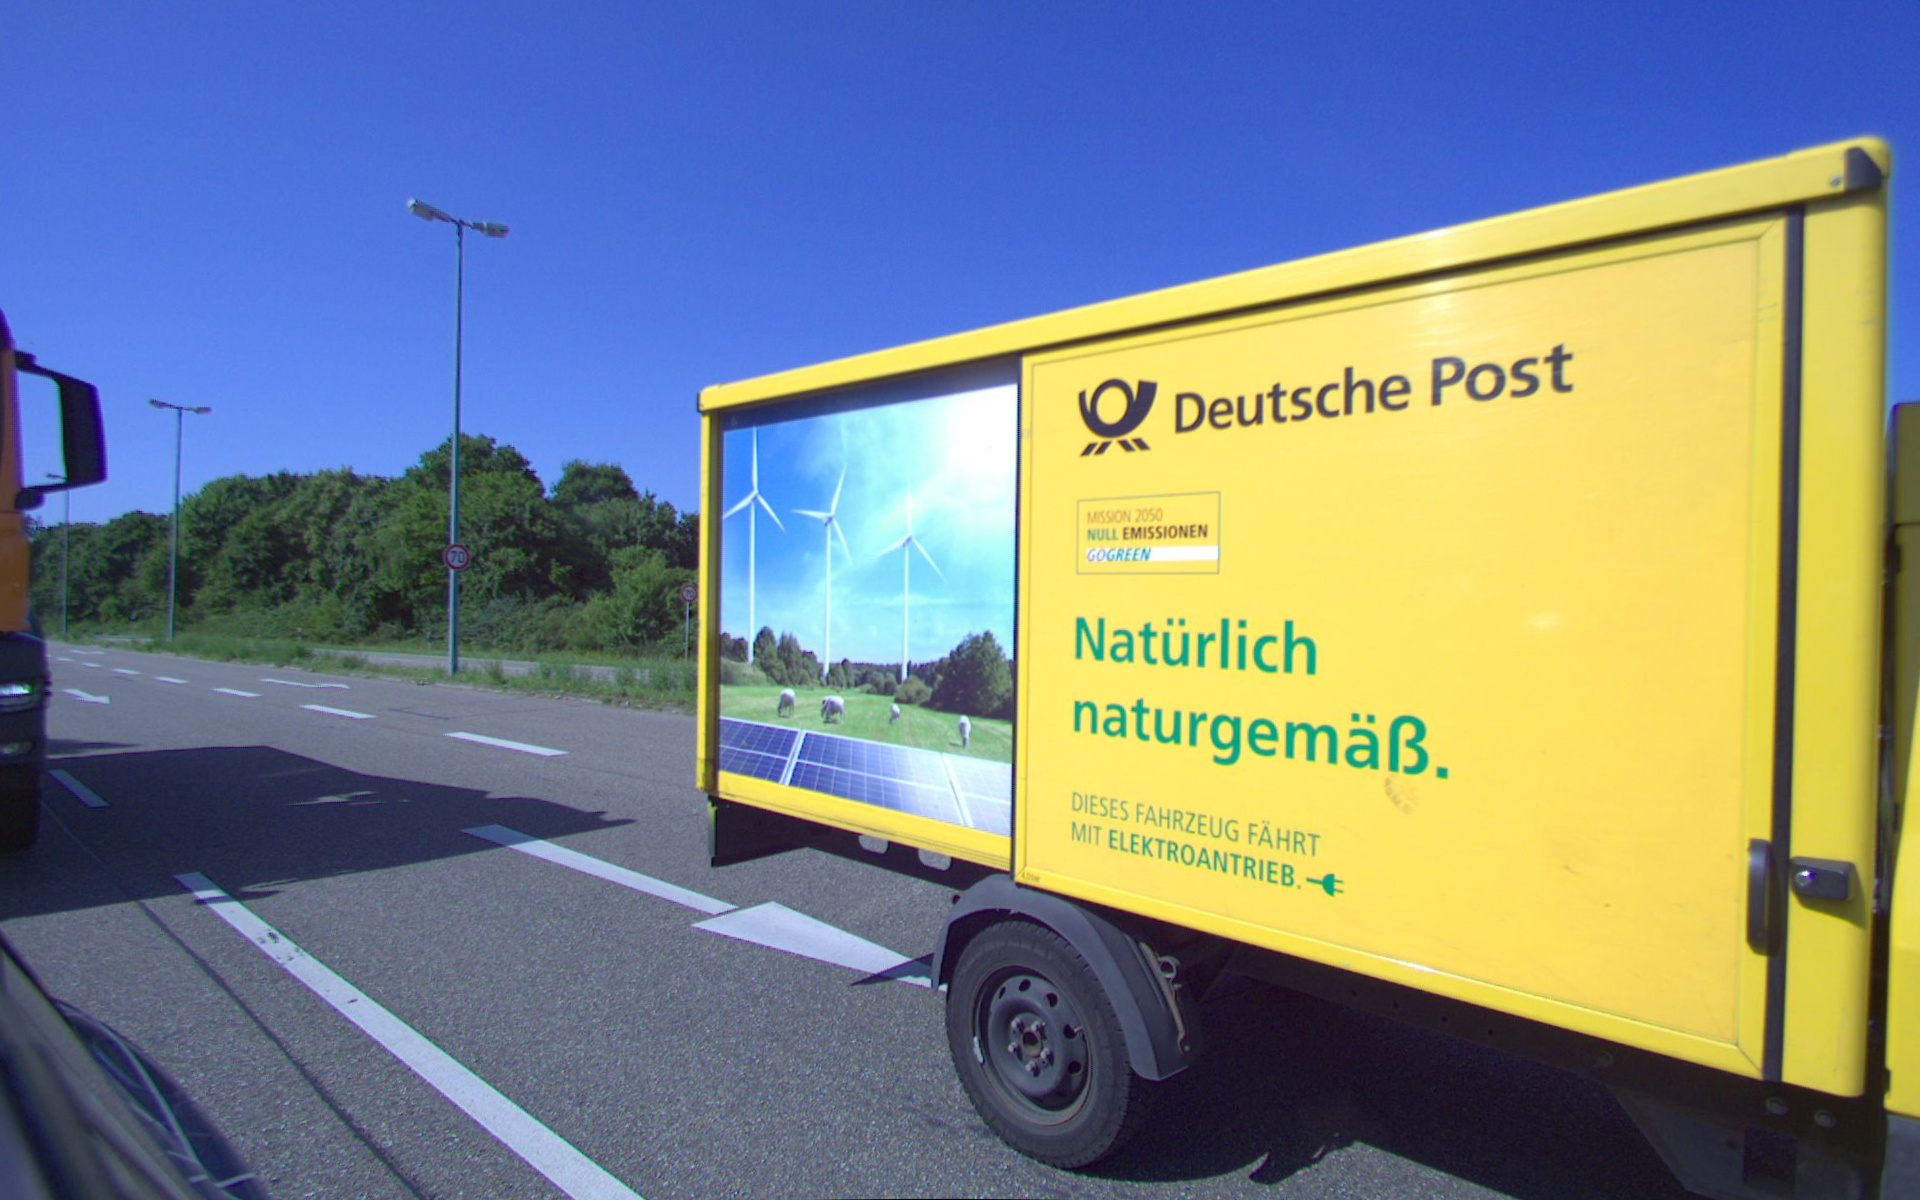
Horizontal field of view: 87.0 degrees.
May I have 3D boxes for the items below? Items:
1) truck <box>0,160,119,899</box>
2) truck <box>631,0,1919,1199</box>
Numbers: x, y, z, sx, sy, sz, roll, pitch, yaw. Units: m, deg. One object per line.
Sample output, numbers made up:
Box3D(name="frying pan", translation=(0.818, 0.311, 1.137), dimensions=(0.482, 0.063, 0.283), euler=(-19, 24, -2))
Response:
Box3D(name="truck", translation=(-8.130, -0.342, 6.878), dimensions=(6.591, 3.904, 2.901), euler=(-1, 0, 43))
Box3D(name="truck", translation=(1.644, 0.161, 2.589), dimensions=(5.916, 2.476, 2.089), euler=(-1, 0, 43))
